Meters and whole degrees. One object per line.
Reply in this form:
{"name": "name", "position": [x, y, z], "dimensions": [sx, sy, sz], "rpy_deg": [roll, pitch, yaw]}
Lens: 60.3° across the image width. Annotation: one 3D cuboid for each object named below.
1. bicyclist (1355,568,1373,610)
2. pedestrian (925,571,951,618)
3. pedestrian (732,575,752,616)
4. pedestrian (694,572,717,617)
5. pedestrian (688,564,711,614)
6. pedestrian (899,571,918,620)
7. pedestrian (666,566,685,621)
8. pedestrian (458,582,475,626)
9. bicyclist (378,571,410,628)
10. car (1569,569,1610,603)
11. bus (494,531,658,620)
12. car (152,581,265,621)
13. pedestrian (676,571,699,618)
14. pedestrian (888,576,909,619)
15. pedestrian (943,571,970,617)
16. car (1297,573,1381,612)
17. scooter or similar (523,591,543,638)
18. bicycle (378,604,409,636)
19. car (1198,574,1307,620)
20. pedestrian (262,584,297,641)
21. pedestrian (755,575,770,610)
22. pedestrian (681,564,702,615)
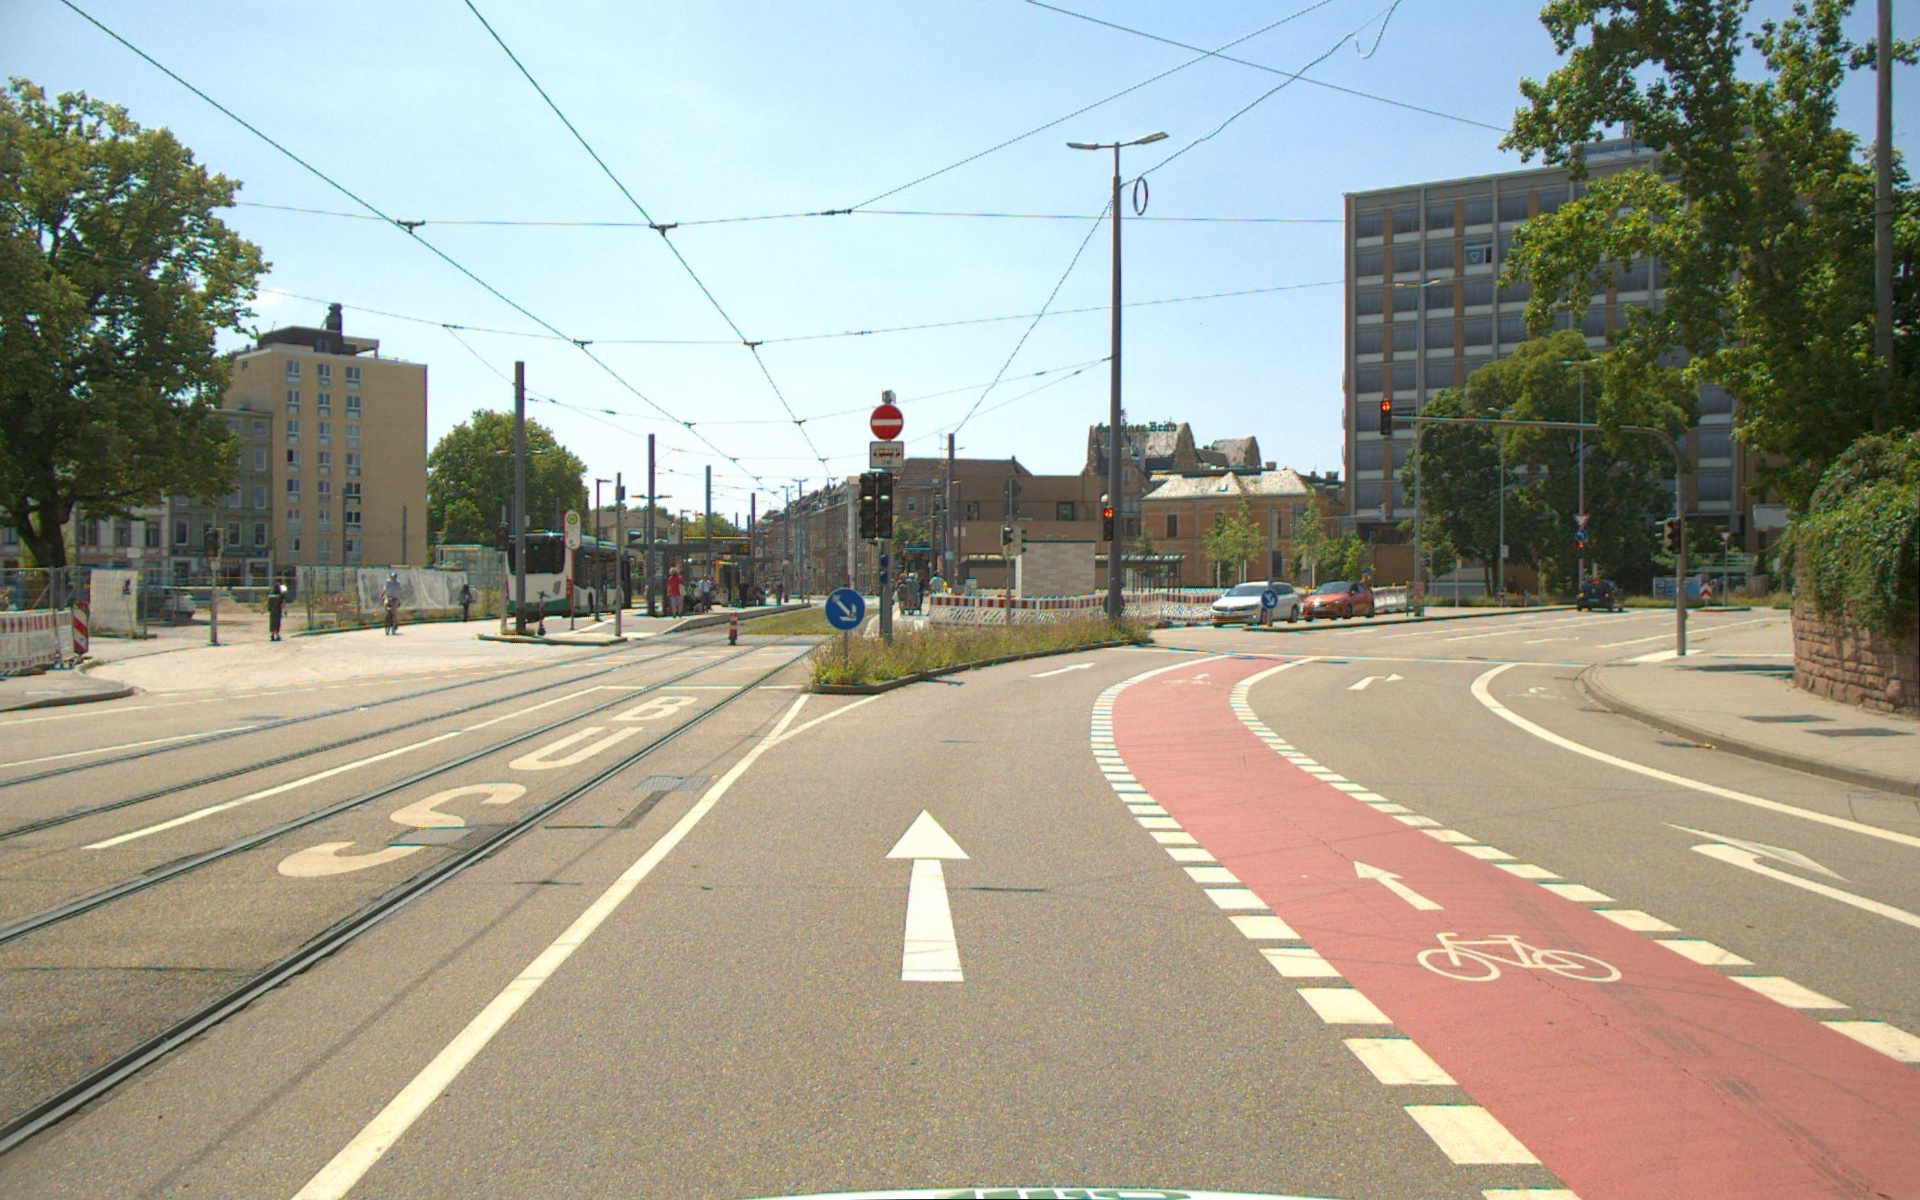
{"name": "bicyclist", "position": [17.163, -0.464, 70.314], "dimensions": [0.558, 1.749, 0.504], "rpy_deg": [-1, 1, 40]}
{"name": "pedestrian", "position": [-0.885, -0.222, 66.925], "dimensions": [0.761, 1.897, 0.719], "rpy_deg": [0, 0, -42]}
{"name": "pedestrian", "position": [-11.384, -0.237, 86.524], "dimensions": [0.880, 2.133, 0.832], "rpy_deg": [-1, 1, 3]}
{"name": "pedestrian", "position": [-12.098, -0.272, 78.544], "dimensions": [0.880, 2.133, 0.832], "rpy_deg": [-1, 1, 3]}
{"name": "pedestrian", "position": [-11.136, -0.483, 70.671], "dimensions": [0.883, 2.133, 0.829], "rpy_deg": [-1, 1, -13]}
{"name": "pedestrian", "position": [-2.091, -0.185, 67.509], "dimensions": [0.705, 1.957, 1.073], "rpy_deg": [0, 0, -6]}
{"name": "pedestrian", "position": [-10.105, -0.237, 58.719], "dimensions": [0.660, 1.943, 0.639], "rpy_deg": [-1, 1, -11]}
{"name": "pedestrian", "position": [-19.849, 0.149, 66.531], "dimensions": [0.556, 1.735, 0.397], "rpy_deg": [-1, 1, -9]}
{"name": "bicyclist", "position": [-17.329, -0.029, 50.671], "dimensions": [0.806, 1.739, 0.769], "rpy_deg": [-1, 1, -10]}
{"name": "car", "position": [29.998, -0.677, 78.762], "dimensions": [1.654, 1.553, 3.689], "rpy_deg": [0, 1, 23]}
{"name": "bus", "position": [-15.592, -1.005, 68.982], "dimensions": [2.949, 3.213, 17.496], "rpy_deg": [0, 1, -1]}
{"name": "car", "position": [-32.306, 0.048, 71.114], "dimensions": [4.093, 1.678, 1.853], "rpy_deg": [0, 1, 11]}
{"name": "pedestrian", "position": [-11.104, -0.238, 67.361], "dimensions": [0.895, 1.884, 0.656], "rpy_deg": [-1, 1, -11]}
{"name": "pedestrian", "position": [-2.454, -0.097, 66.169], "dimensions": [0.714, 1.736, 0.741], "rpy_deg": [0, 0, -13]}
{"name": "pedestrian", "position": [-0.158, -0.244, 68.132], "dimensions": [0.961, 1.864, 0.631], "rpy_deg": [-1, 1, -16]}
{"name": "car", "position": [14.360, -0.294, 62.545], "dimensions": [1.701, 1.449, 4.109], "rpy_deg": [0, 0, 35]}
{"name": "scooter or similar", "position": [-11.536, 0.392, 44.699], "dimensions": [0.312, 1.227, 1.247], "rpy_deg": [-1, 1, -6]}
{"name": "bicycle", "position": [-17.336, 0.602, 50.664], "dimensions": [0.494, 0.930, 2.365], "rpy_deg": [-1, 1, -10]}
{"name": "car", "position": [9.948, -0.112, 55.977], "dimensions": [1.958, 1.463, 4.692], "rpy_deg": [0, 0, 33]}
{"name": "pedestrian", "position": [-19.883, 0.367, 48.333], "dimensions": [0.593, 1.630, 0.826], "rpy_deg": [0, 1, 9]}
{"name": "pedestrian", "position": [-12.053, -0.468, 100.875], "dimensions": [0.812, 2.133, 0.902], "rpy_deg": [-1, 1, -2]}
{"name": "pedestrian", "position": [-11.334, -0.461, 69.723], "dimensions": [0.809, 2.133, 0.639], "rpy_deg": [-1, 1, -13]}
